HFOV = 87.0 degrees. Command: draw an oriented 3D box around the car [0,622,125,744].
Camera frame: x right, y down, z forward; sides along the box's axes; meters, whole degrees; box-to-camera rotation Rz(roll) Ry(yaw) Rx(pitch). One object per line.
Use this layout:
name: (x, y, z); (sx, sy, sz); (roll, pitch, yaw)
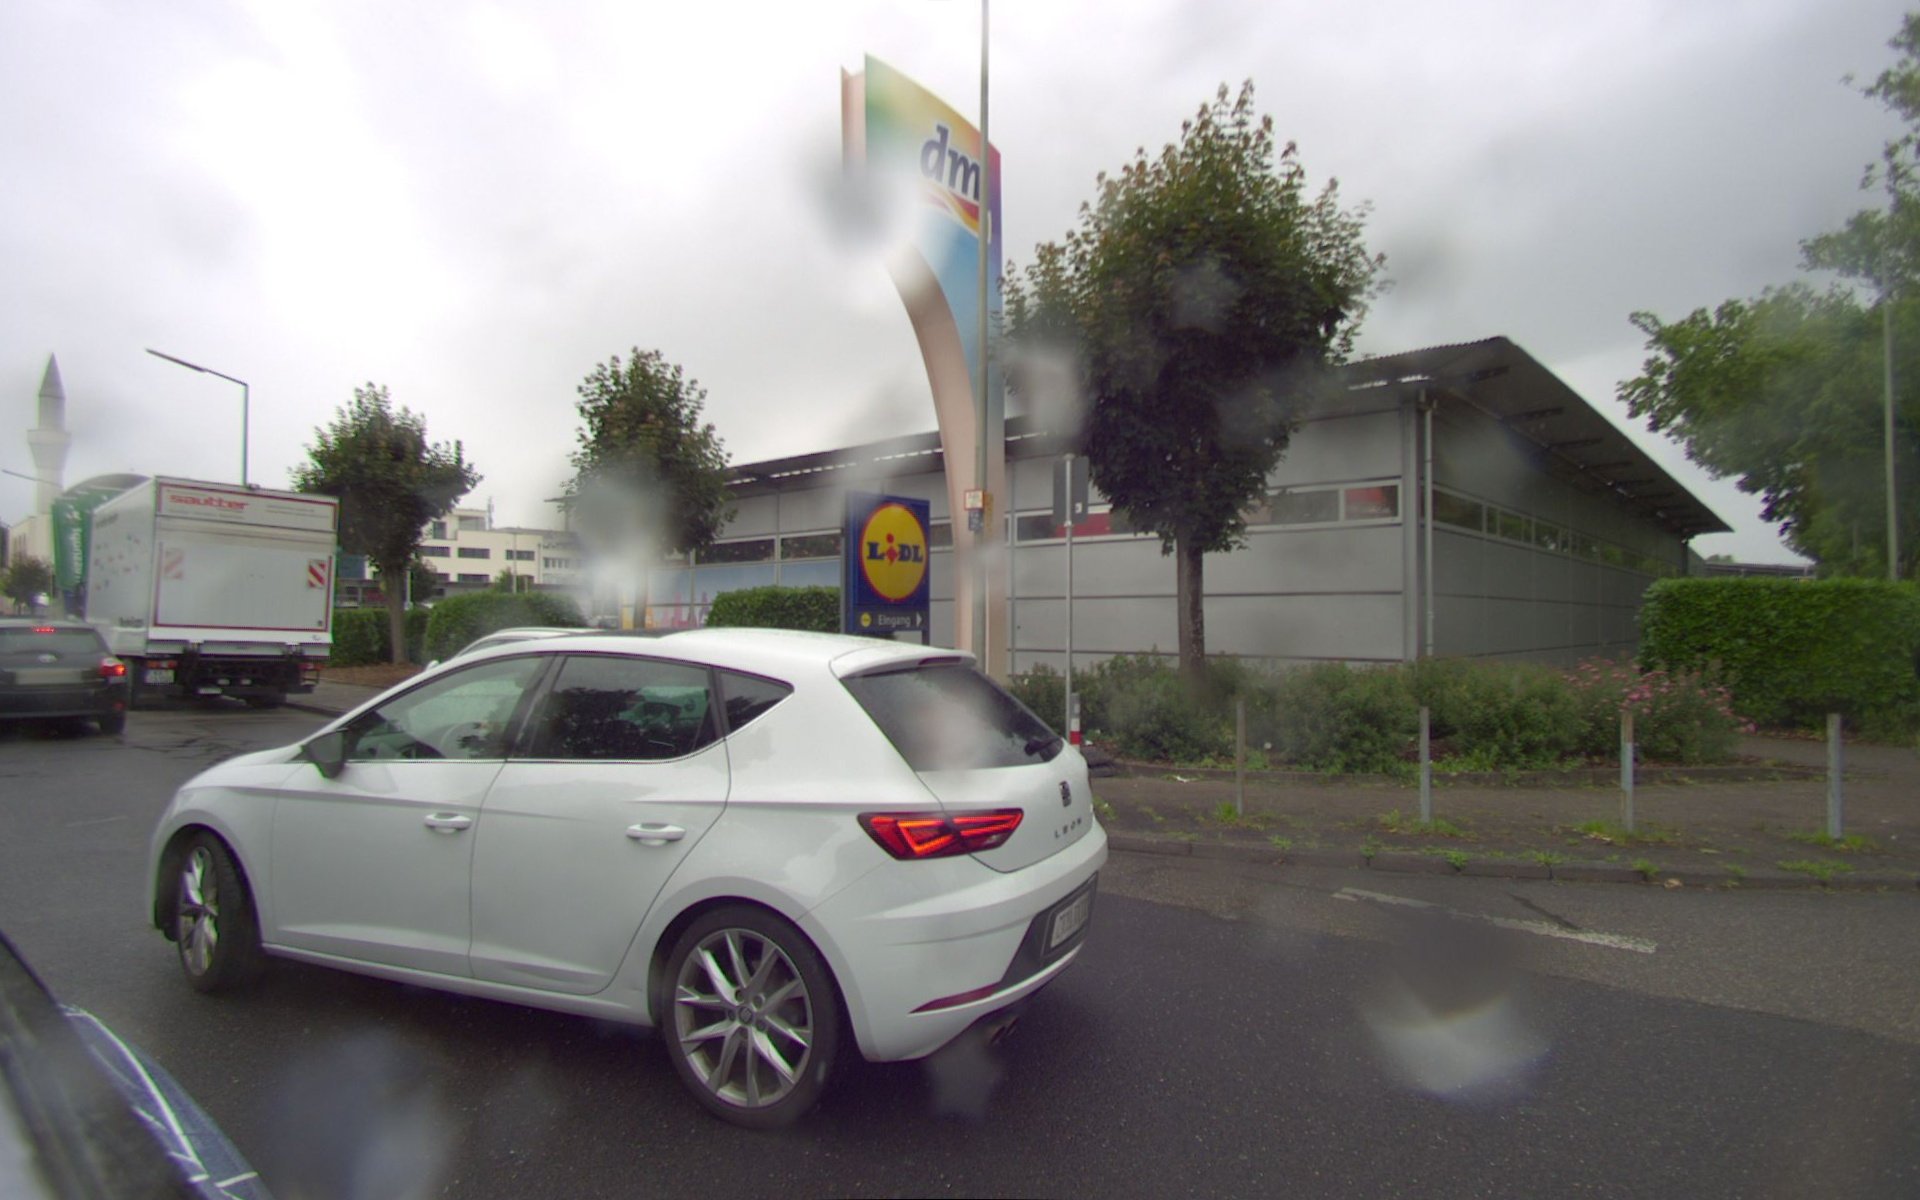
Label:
car: (-12.832, 1.041, 13.587); (3.995, 1.452, 1.714); (-2, -3, 39)

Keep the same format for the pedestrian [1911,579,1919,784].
pedestrian: (8.402, 0.666, 8.252); (0.769, 1.686, 0.760); (1, -2, -34)

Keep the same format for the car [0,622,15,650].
car: (-48.022, 1.789, 49.984); (3.608, 1.351, 1.559); (-1, -2, 40)

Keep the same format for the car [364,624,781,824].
car: (-3.809, 0.971, 9.522); (4.491, 1.445, 1.816); (-1, -3, 42)

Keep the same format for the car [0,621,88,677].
car: (-26.249, 1.352, 28.761); (3.511, 1.477, 1.670); (-1, -2, 40)

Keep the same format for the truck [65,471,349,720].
truck: (-14.376, 0.018, 19.029); (7.867, 3.775, 2.850); (-1, -2, 43)

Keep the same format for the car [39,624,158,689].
car: (-21.048, 1.317, 24.698); (3.511, 1.477, 1.670); (-1, -2, 40)

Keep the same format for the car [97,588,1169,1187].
car: (-1.313, 0.751, 4.078); (3.975, 1.452, 1.722); (-1, -2, 24)
